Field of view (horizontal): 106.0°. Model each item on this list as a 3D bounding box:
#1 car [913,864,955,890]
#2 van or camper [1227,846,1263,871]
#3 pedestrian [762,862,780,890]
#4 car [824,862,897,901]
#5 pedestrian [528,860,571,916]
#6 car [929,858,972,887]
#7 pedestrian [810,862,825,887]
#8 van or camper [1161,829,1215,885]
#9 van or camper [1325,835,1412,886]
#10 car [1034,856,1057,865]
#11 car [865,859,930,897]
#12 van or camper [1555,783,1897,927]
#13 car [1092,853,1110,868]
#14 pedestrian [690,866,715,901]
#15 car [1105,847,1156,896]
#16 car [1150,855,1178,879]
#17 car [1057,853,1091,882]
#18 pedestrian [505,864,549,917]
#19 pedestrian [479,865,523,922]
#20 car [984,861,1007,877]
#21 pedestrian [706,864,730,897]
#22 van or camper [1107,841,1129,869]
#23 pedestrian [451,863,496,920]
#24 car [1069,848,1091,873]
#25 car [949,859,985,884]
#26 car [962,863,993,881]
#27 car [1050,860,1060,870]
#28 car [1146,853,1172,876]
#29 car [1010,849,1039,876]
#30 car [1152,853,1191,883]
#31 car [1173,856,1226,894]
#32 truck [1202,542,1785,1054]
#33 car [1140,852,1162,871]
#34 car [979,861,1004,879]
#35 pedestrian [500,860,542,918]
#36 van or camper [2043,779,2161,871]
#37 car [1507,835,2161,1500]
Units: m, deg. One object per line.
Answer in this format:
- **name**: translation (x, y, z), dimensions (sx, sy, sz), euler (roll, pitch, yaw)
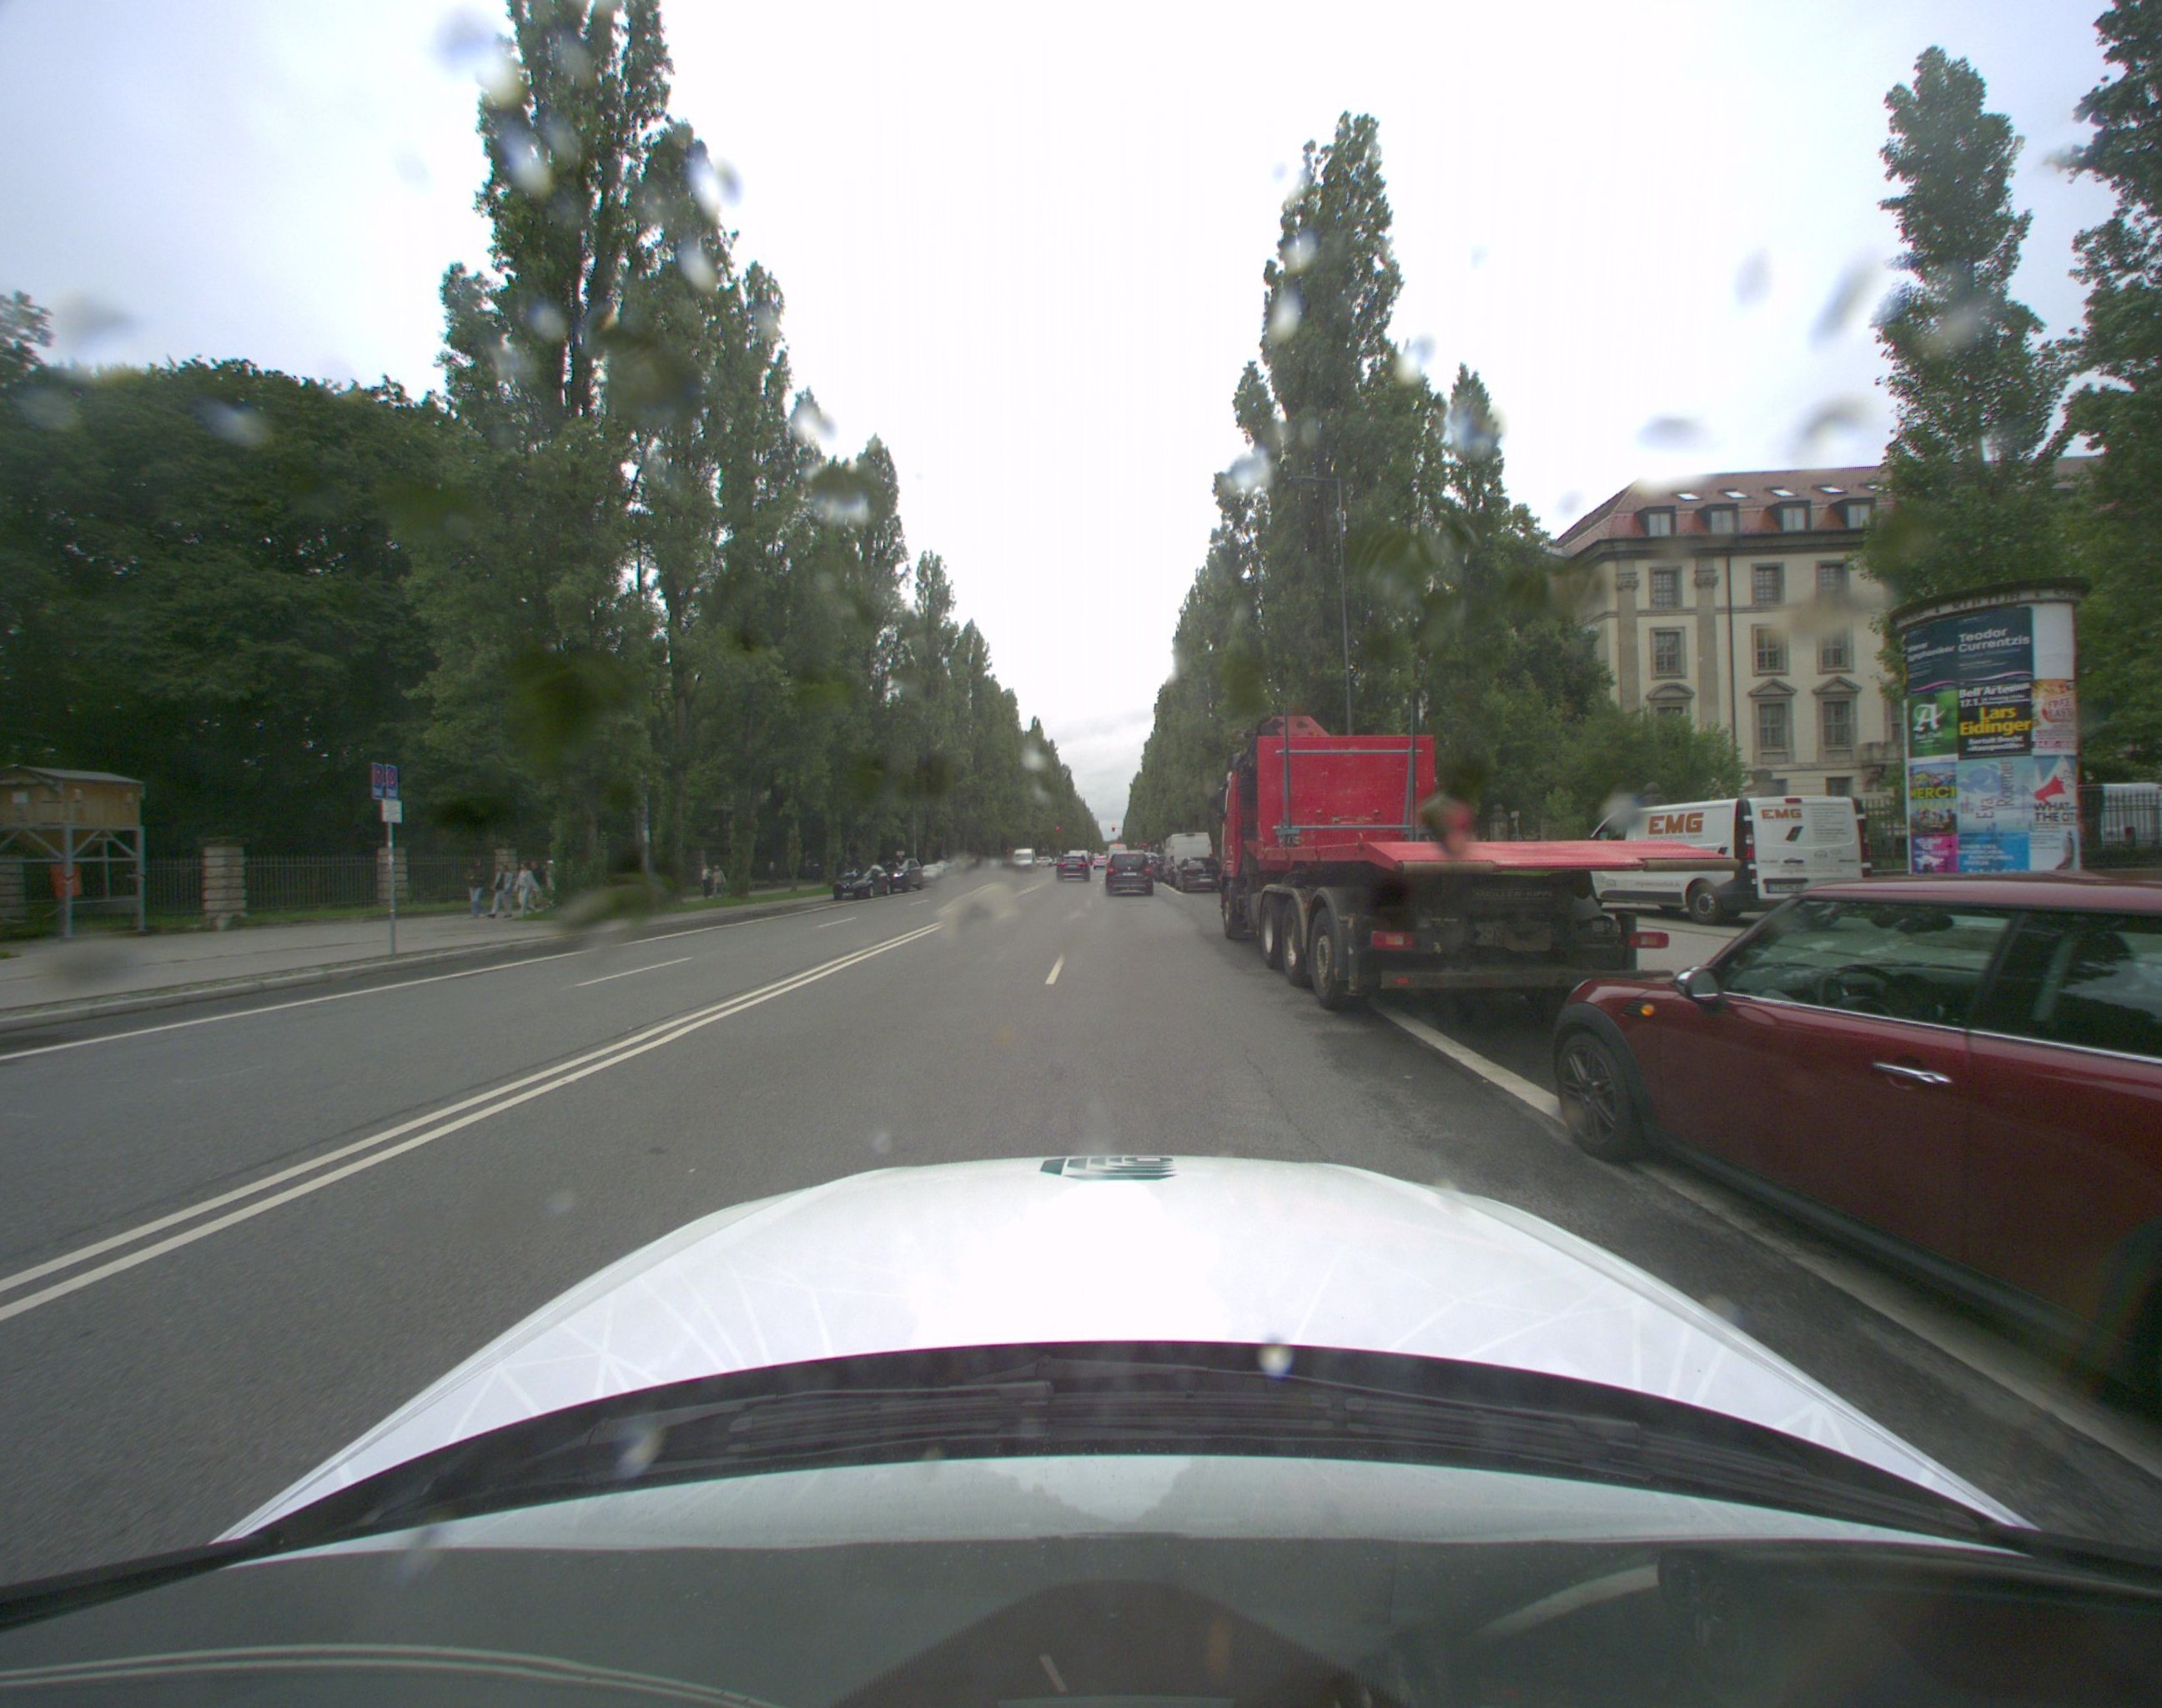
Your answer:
- **car**: translation (-9.449, 1.433, 52.755), dimensions (1.697, 1.459, 4.275), euler (-4, 0, 2)
- **van or camper**: translation (13.131, 0.355, 65.493), dimensions (2.067, 1.933, 5.373), euler (-1, 0, 3)
- **pedestrian**: translation (-19.284, 1.353, 50.718), dimensions (0.663, 1.741, 0.958), euler (-2, 0, 3)
- **car**: translation (-10.301, 1.243, 38.353), dimensions (1.936, 1.583, 4.392), euler (-4, 0, 3)
- **pedestrian**: translation (-17.975, 1.129, 27.574), dimensions (0.707, 1.834, 1.093), euler (0, -1, 2)
- **car**: translation (-9.286, 1.276, 58.226), dimensions (1.902, 1.789, 5.183), euler (-4, 0, 2)
- **pedestrian**: translation (-19.212, 1.476, 59.363), dimensions (0.663, 1.741, 0.958), euler (-2, 0, 3)
- **van or camper**: translation (5.266, 0.157, 41.031), dimensions (2.130, 2.540, 6.422), euler (-2, 0, 3)
- **van or camper**: translation (11.705, 0.245, 33.500), dimensions (1.967, 1.933, 5.041), euler (-1, 0, 2)
- **car**: translation (-5.913, 1.053, 135.274), dimensions (1.691, 1.366, 3.846), euler (-2, 0, 40)
- **car**: translation (-9.897, 1.238, 44.286), dimensions (2.037, 1.786, 4.804), euler (-4, 0, 3)
- **van or camper**: translation (10.555, 0.013, 13.991), dimensions (1.996, 2.013, 4.987), euler (-1, 0, 1)
- **car**: translation (2.317, 0.715, 92.855), dimensions (1.986, 1.561, 4.002), euler (-2, 0, 2)
- **pedestrian**: translation (-17.984, 1.398, 38.717), dimensions (0.715, 1.605, 0.813), euler (-2, 0, 1)
- **car**: translation (1.903, 0.626, 31.626), dimensions (1.848, 1.770, 4.003), euler (0, 0, 3)
- **car**: translation (5.874, 0.899, 57.775), dimensions (1.696, 1.520, 4.298), euler (-2, 0, 3)
- **car**: translation (-0.381, 0.775, 48.947), dimensions (1.774, 1.620, 4.028), euler (-2, 0, 3)
- **pedestrian**: translation (-18.744, 1.215, 27.579), dimensions (0.707, 1.772, 1.093), euler (0, -1, 2)
- **pedestrian**: translation (-18.109, 1.224, 25.455), dimensions (0.685, 1.700, 0.886), euler (-2, 0, 2)
- **car**: translation (-8.624, 1.524, 82.536), dimensions (1.703, 1.451, 3.587), euler (-4, 0, 1)
- **pedestrian**: translation (-17.252, 1.247, 38.703), dimensions (0.715, 1.548, 0.876), euler (-2, 0, 1)
- **van or camper**: translation (3.515, 0.115, 77.843), dimensions (1.968, 2.548, 4.025), euler (-2, 0, 1)
- **pedestrian**: translation (-18.848, 1.157, 25.275), dimensions (0.657, 1.716, 0.911), euler (-2, 0, 2)
- **car**: translation (-0.119, 0.571, 71.124), dimensions (1.776, 2.111, 4.024), euler (-2, 0, 0)
- **car**: translation (-8.938, 1.312, 64.089), dimensions (1.934, 1.767, 4.897), euler (-4, 0, 1)
- **car**: translation (-8.787, 1.536, 69.619), dimensions (1.819, 1.334, 4.236), euler (-4, 0, 2)
- **car**: translation (-4.952, 2.058, 155.401), dimensions (1.681, 1.783, 3.777), euler (-2, 0, 3)
- **car**: translation (5.978, 0.774, 62.710), dimensions (1.736, 1.675, 4.583), euler (-2, 0, 3)
- **car**: translation (-5.790, 0.845, 84.137), dimensions (2.219, 2.483, 6.761), euler (-3, 0, 2)
- **car**: translation (5.252, 0.767, 47.643), dimensions (1.778, 1.648, 4.418), euler (-2, 0, 1)
- **car**: translation (4.879, 0.837, 34.000), dimensions (1.670, 1.420, 4.001), euler (-2, 0, 1)
- **truck**: translation (3.663, -0.392, 10.888), dimensions (2.834, 3.564, 10.283), euler (-1, 0, 2)
- **car**: translation (7.268, 0.728, 84.823), dimensions (1.845, 1.881, 4.168), euler (-2, 0, 1)
- **car**: translation (-8.594, 1.520, 78.328), dimensions (1.764, 1.452, 4.234), euler (-4, 0, 1)
- **pedestrian**: translation (-17.324, 1.062, 25.208), dimensions (0.627, 1.747, 0.908), euler (-2, 0, 2)
- **van or camper**: translation (33.605, -0.927, 25.061), dimensions (5.189, 2.706, 2.250), euler (-2, 0, 2)
- **car**: translation (3.211, 0.687, 2.887), dimensions (1.555, 1.469, 3.654), euler (-2, 0, 2)
